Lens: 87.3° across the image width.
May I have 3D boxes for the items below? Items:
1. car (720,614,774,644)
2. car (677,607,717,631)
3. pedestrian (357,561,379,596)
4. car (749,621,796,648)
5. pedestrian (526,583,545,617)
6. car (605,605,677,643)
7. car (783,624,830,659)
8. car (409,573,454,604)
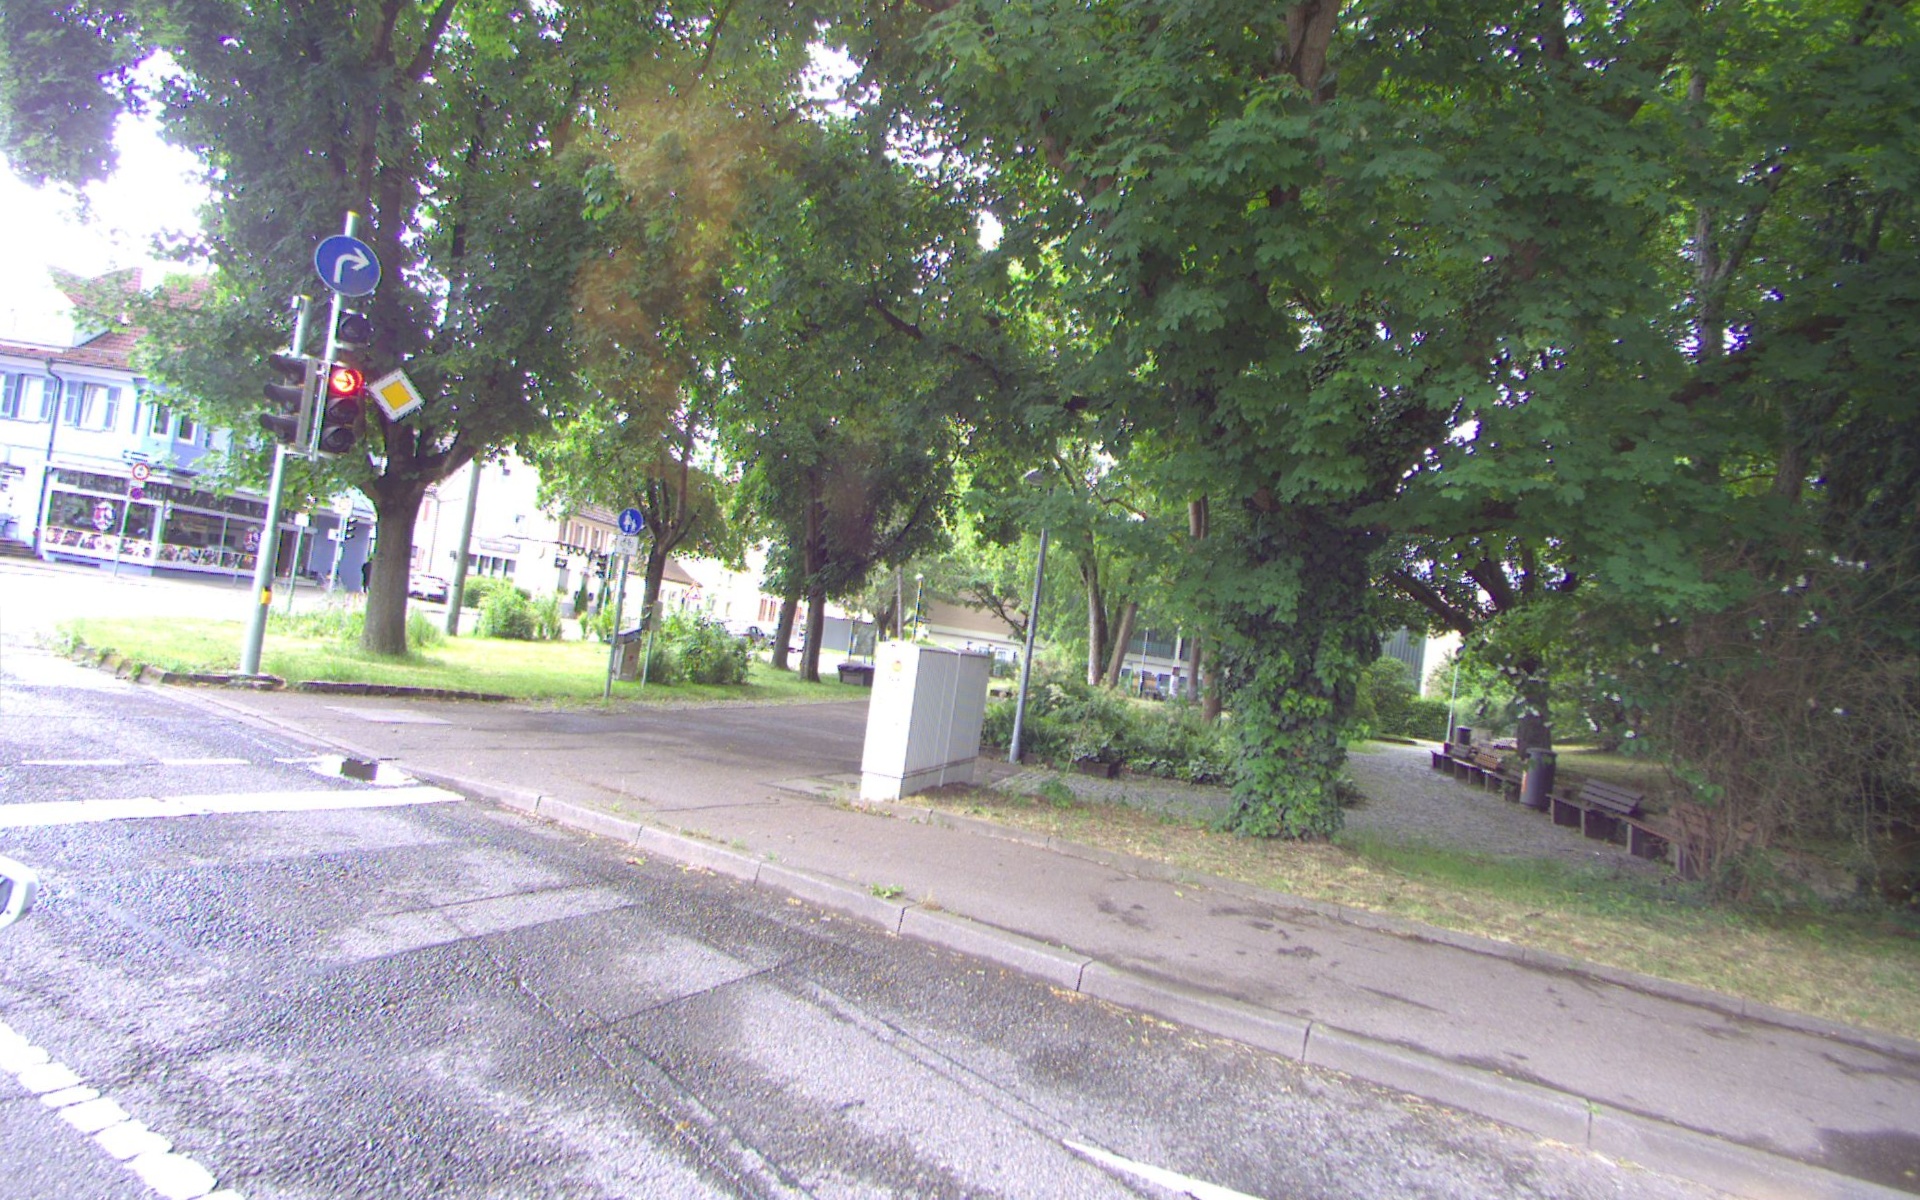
[{"bbox_3d":[-11.568,1.594,54.827,1.530,1.336,3.514,7,-2,9],"label":"car"},{"bbox_3d":[-19.369,1.440,74.255,1.528,1.436,4.005,7,-2,4],"label":"car"},{"bbox_3d":[-27.481,-1.014,46.705,0.576,1.535,0.460,7,-1,12],"label":"pedestrian"},{"bbox_3d":[-11.167,2.068,60.112,1.530,1.336,3.514,7,-2,8],"label":"car"},{"bbox_3d":[-22.094,-0.006,52.323,0.607,1.668,0.603,8,-1,-37],"label":"pedestrian"},{"bbox_3d":[-14.010,1.088,44.363,1.530,1.336,3.514,7,-2,9],"label":"car"},{"bbox_3d":[-10.055,2.756,66.180,1.750,2.037,4.005,7,-2,7],"label":"car"},{"bbox_3d":[-27.871,-0.605,53.151,1.479,1.384,3.166,8,-2,-19],"label":"car"}]
